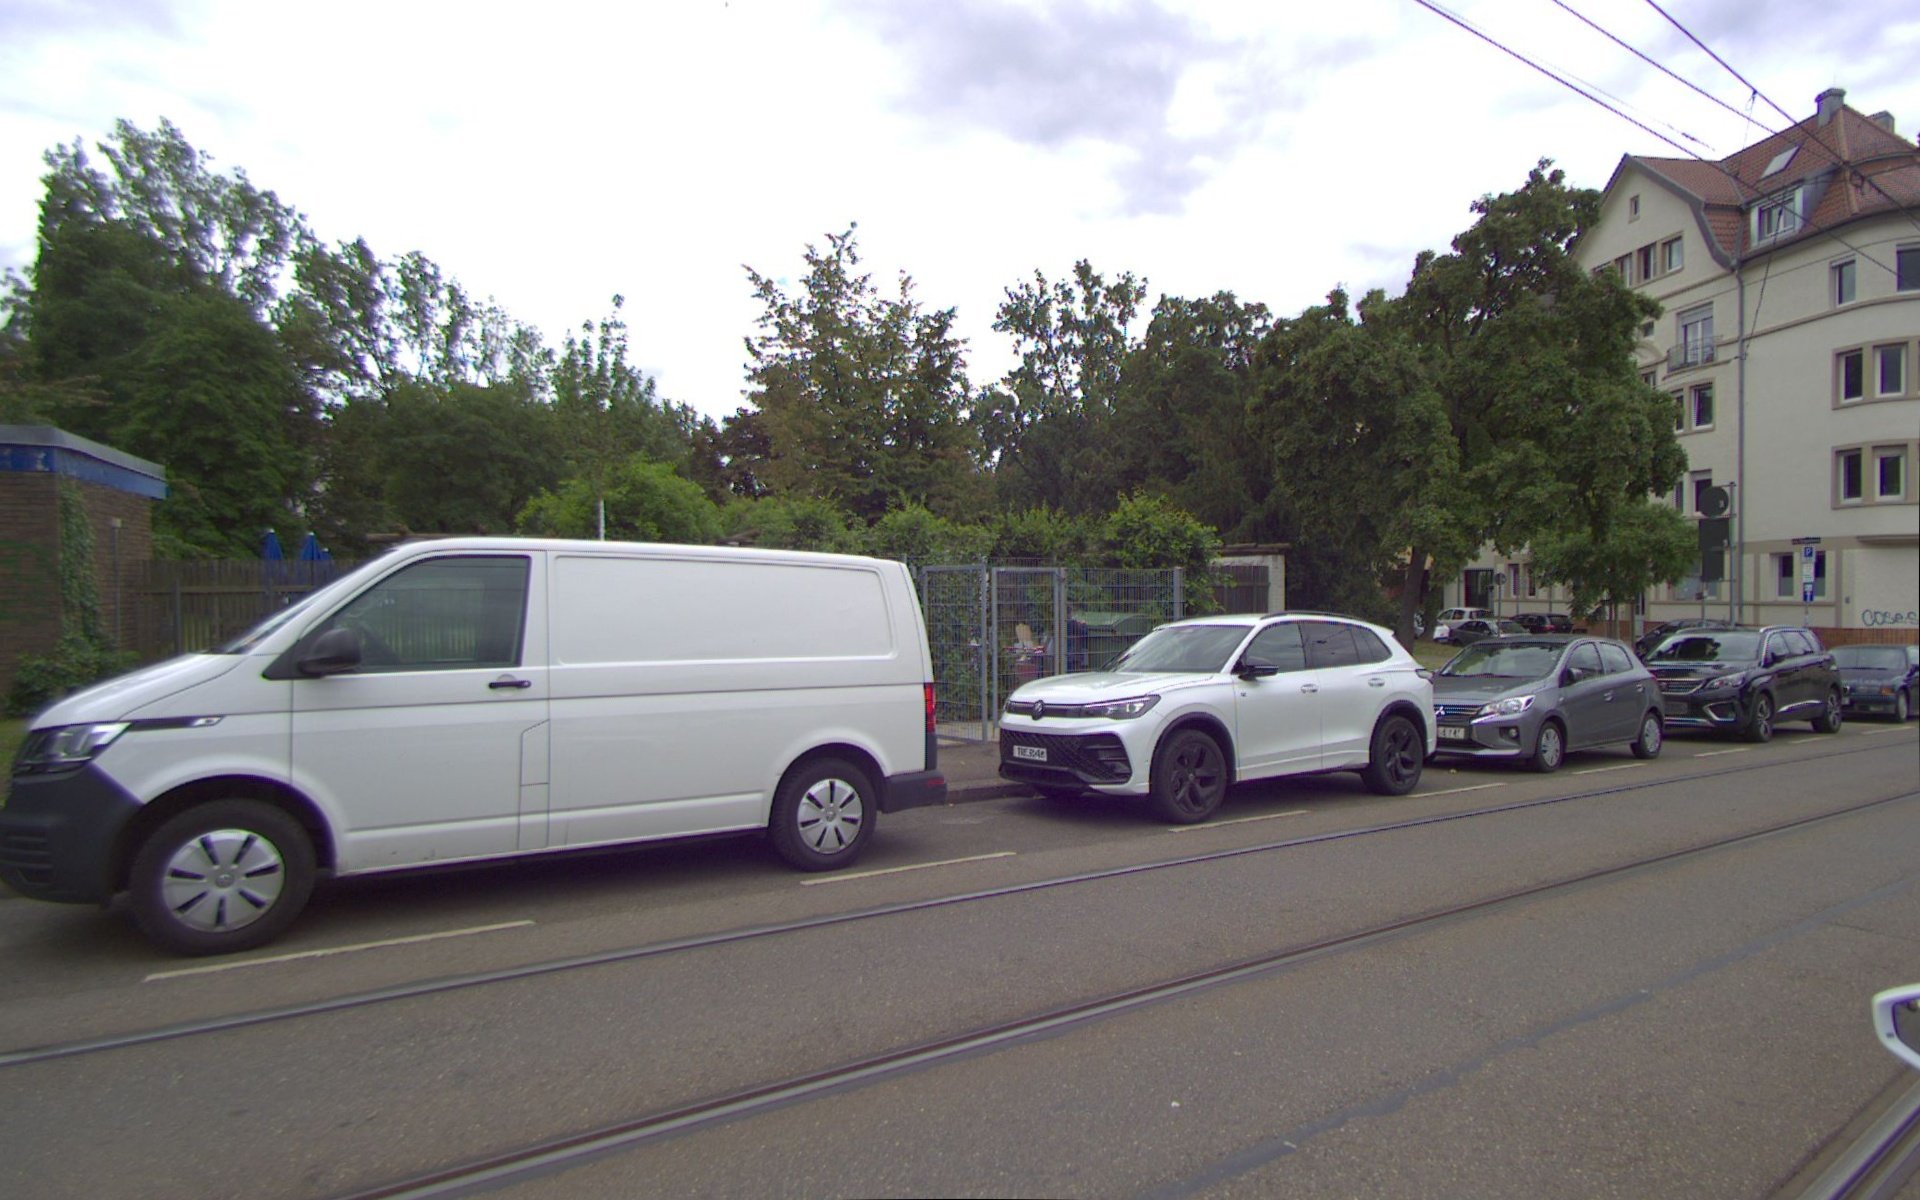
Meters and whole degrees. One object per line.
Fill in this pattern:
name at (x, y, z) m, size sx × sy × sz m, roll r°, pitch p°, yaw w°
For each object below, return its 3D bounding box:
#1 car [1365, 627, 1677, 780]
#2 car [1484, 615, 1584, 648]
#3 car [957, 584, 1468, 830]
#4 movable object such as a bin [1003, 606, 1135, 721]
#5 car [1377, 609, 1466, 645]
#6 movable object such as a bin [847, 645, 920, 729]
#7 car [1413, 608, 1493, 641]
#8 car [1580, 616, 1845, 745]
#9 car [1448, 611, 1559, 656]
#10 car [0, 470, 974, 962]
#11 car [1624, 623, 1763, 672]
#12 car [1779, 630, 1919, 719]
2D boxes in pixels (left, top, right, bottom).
car at (6.763, 1.157, 12.005) m, size 3.830 × 1.528 × 1.727 m, roll 3°, pitch -2°, yaw -34°
car at (25.425, 1.371, 44.640) m, size 1.841 × 1.372 × 3.996 m, roll 1°, pitch -1°, yaw -6°
car at (2.420, 0.857, 9.125) m, size 4.586 × 1.708 × 1.957 m, roll 3°, pitch -2°, yaw -34°
movable object such as a bin at (1.435, 0.815, 13.400) m, size 1.189 × 1.391 × 1.269 m, roll 2°, pitch 1°, yaw -31°
car at (19.951, 1.153, 43.596) m, size 1.727 × 1.438 × 3.996 m, roll 1°, pitch -1°, yaw -6°
movable object such as a bin at (-0.953, 1.055, 12.393) m, size 0.599 × 0.952 × 0.730 m, roll 2°, pitch 1°, yaw -31°
car at (24.642, 1.205, 50.328) m, size 1.728 × 1.564 × 3.996 m, roll 1°, pitch -1°, yaw -6°
car at (11.597, 1.176, 15.401) m, size 4.399 × 1.708 × 1.957 m, roll 3°, pitch -2°, yaw -34°
car at (20.569, 1.234, 38.203) m, size 1.727 × 1.459 × 3.995 m, roll 0°, pitch 1°, yaw -6°
car at (-2.403, 0.570, 6.089) m, size 4.687 × 1.938 × 1.957 m, roll 3°, pitch -2°, yaw -34°
car at (26.385, 1.658, 36.285) m, size 1.841 × 1.592 × 3.996 m, roll 1°, pitch -1°, yaw -6°
car at (17.231, 1.388, 18.992) m, size 4.114 × 1.497 × 1.611 m, roll 3°, pitch -2°, yaw -34°
